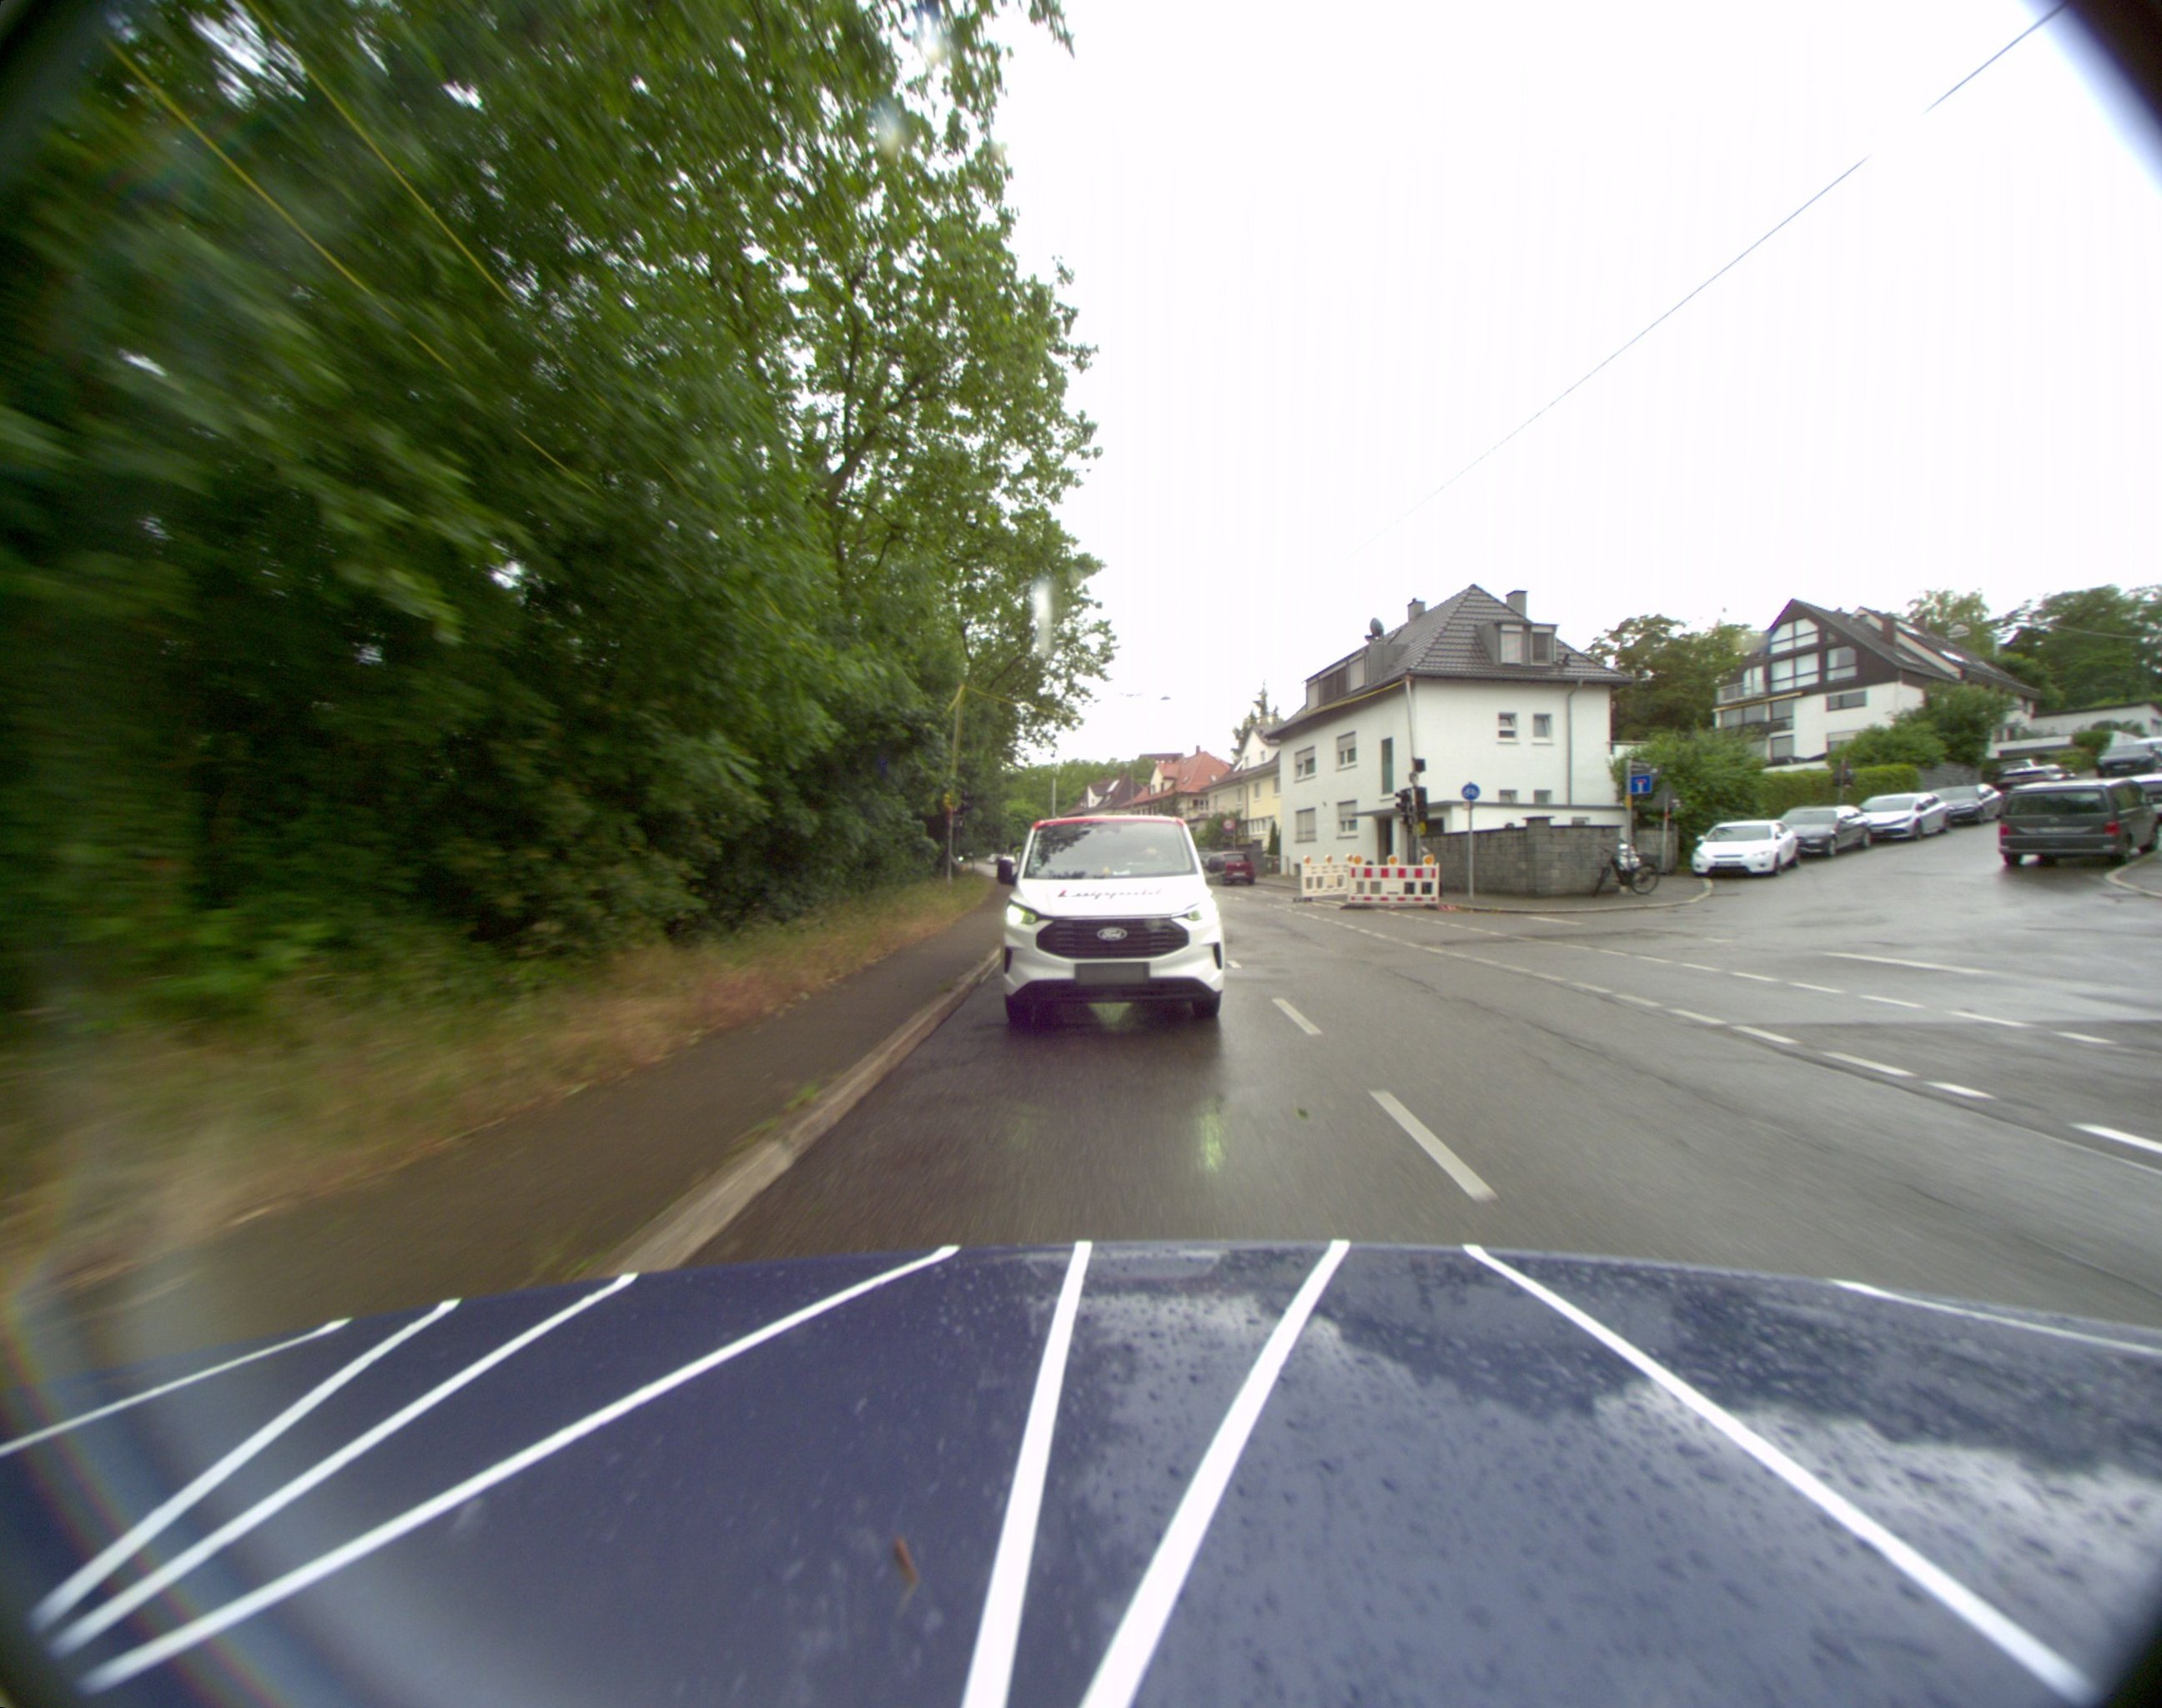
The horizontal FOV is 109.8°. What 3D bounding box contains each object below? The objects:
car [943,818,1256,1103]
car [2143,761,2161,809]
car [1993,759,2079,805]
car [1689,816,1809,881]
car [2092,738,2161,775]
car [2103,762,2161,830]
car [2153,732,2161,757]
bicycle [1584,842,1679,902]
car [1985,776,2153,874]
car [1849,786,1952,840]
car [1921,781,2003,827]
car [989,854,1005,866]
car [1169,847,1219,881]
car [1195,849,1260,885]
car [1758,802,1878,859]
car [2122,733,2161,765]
[{"bbox_3d":[0.316,0.689,7.726,2.045,1.883,5.210,-2,1,4],"label":"car"},{"bbox_3d":[39.212,-2.561,26.753,3.564,1.461,1.580,-9,3,-27],"label":"car"},{"bbox_3d":[42.844,-3.244,34.076,3.988,1.547,1.333,-9,3,-23],"label":"car"},{"bbox_3d":[18.906,-0.175,21.482,3.566,1.458,1.746,-7,2,-36],"label":"car"},{"bbox_3d":[57.570,-5.368,41.633,3.833,1.492,1.734,-9,3,-23],"label":"car"},{"bbox_3d":[34.518,-1.912,24.130,3.416,1.827,1.918,-9,3,-28],"label":"car"},{"bbox_3d":[71.219,-7.202,48.187,1.582,1.492,3.608,-9,3,-30],"label":"car"},{"bbox_3d":[12.823,0.399,17.725,1.732,1.304,0.707,-2,1,-3],"label":"bicycle"},{"bbox_3d":[24.854,-0.733,19.101,3.800,1.926,1.911,-9,3,-28],"label":"car"},{"bbox_3d":[28.964,-1.459,26.842,3.858,1.458,1.579,-8,4,-29],"label":"car"},{"bbox_3d":[33.978,-1.940,29.291,3.507,1.383,1.333,-8,4,-29],"label":"car"},{"bbox_3d":[-12.067,0.864,108.628,1.766,1.519,3.586,-2,1,-13],"label":"car"},{"bbox_3d":[5.745,0.561,39.045,1.670,1.579,4.005,-3,-1,-4],"label":"car"},{"bbox_3d":[6.505,0.600,34.138,1.898,1.485,3.796,-1,-1,-4],"label":"car"},{"bbox_3d":[24.034,-0.784,24.761,3.859,1.458,1.701,-6,2,-29],"label":"car"},{"bbox_3d":[64.030,-6.314,45.140,3.833,1.492,1.734,-9,3,-23],"label":"car"}]
